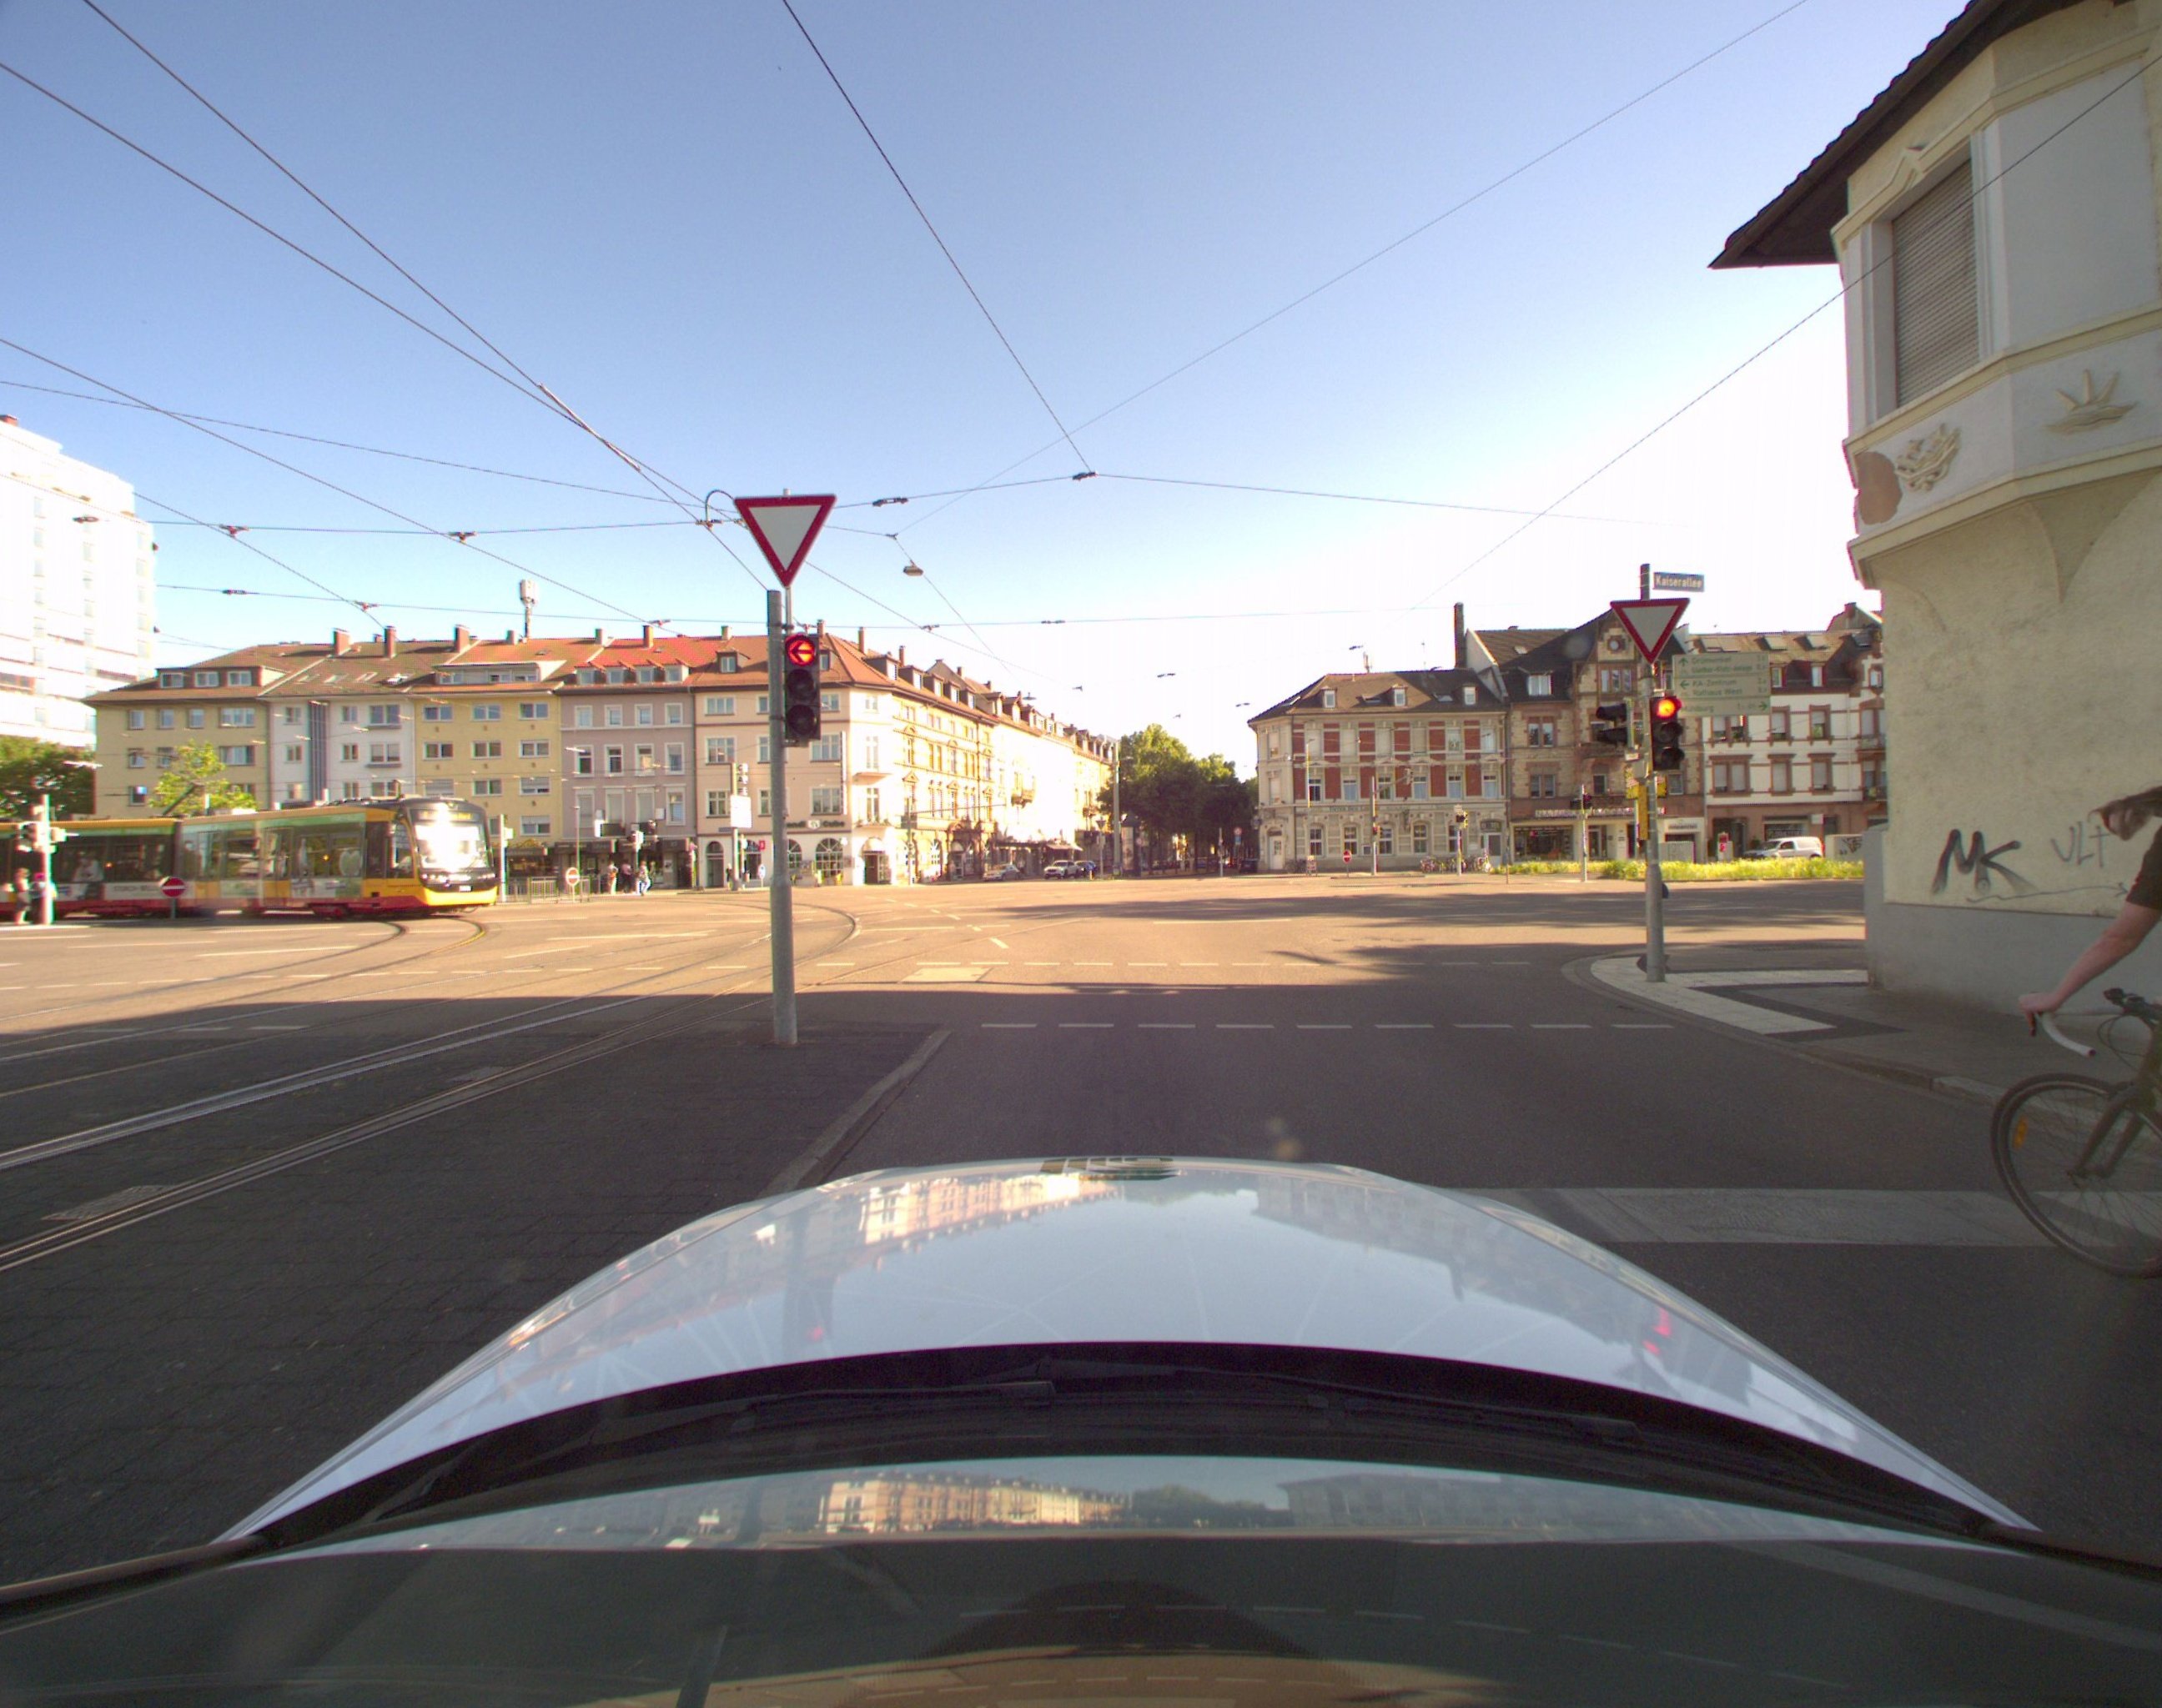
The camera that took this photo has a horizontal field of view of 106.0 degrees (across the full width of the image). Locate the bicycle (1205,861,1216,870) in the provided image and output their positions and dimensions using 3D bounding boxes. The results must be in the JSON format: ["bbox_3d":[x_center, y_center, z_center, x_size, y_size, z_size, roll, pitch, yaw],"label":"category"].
[{"bbox_3d":[15.780,1.389,99.272,0.636,1.021,1.839,0,-1,-12],"label":"bicycle"}]

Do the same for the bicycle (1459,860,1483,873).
[{"bbox_3d":[25.211,0.804,52.694,0.656,0.840,2.162,0,-1,3],"label":"bicycle"}]

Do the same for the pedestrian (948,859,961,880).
[{"bbox_3d":[-10.361,1.284,66.778,0.770,1.670,0.834,-1,-1,17],"label":"pedestrian"}]

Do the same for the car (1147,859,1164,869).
[{"bbox_3d":[11.256,1.517,122.356,1.664,1.354,3.608,-2,0,19],"label":"car"}]

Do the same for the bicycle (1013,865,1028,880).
[{"bbox_3d":[-4.887,1.482,65.529,0.696,1.118,1.642,-1,-1,16],"label":"bicycle"}]

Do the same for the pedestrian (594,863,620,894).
[{"bbox_3d":[-24.778,1.285,42.581,0.842,1.577,0.836,-1,-1,11],"label":"pedestrian"}]

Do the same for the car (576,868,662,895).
[{"bbox_3d":[-30.359,1.786,53.634,4.347,1.711,2.308,0,-1,4],"label":"car"}]

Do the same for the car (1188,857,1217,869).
[{"bbox_3d":[17.216,1.254,115.447,3.870,1.648,1.691,-2,0,19],"label":"car"}]

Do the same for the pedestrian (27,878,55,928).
[{"bbox_3d":[-31.911,1.495,24.988,0.456,1.505,0.485,-1,1,38],"label":"pedestrian"}]

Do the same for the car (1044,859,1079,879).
[{"bbox_3d":[-1.598,1.212,67.504,1.664,1.483,3.789,-2,0,19],"label":"car"}]

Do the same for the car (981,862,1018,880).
[{"bbox_3d":[-6.702,1.422,67.221,1.664,1.354,3.608,-2,0,19],"label":"car"}]

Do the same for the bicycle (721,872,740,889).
[{"bbox_3d":[-22.794,1.690,52.955,0.570,1.077,1.497,0,-1,2],"label":"bicycle"}]

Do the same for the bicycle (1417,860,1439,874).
[{"bbox_3d":[22.431,0.825,52.689,0.656,0.840,2.162,0,-1,3],"label":"bicycle"}]

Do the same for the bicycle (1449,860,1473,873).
[{"bbox_3d":[24.574,0.809,52.740,0.656,0.840,2.162,0,-1,3],"label":"bicycle"}]

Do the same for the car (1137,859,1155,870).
[{"bbox_3d":[9.185,1.489,115.440,1.664,1.354,3.608,-2,0,19],"label":"car"}]

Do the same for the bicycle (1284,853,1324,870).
[{"bbox_3d":[15.610,0.499,57.052,2.547,1.174,0.818,0,-1,-1],"label":"bicycle"}]

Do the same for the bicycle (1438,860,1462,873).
[{"bbox_3d":[23.891,0.814,52.732,0.656,0.840,2.162,0,-1,3],"label":"bicycle"}]

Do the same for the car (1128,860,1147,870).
[{"bbox_3d":[7.710,1.486,111.316,1.664,1.354,3.608,-2,0,19],"label":"car"}]

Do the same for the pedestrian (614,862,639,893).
[{"bbox_3d":[-22.858,1.182,41.003,0.720,1.577,0.836,-1,-1,11],"label":"pedestrian"}]

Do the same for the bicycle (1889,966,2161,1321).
[{"bbox_3d":[3.601,0.958,2.503,0.516,0.970,1.750,-1,0,2],"label":"bicycle"}]

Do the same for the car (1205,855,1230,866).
[{"bbox_3d":[21.462,1.057,127.713,3.549,1.648,1.691,-2,0,19],"label":"car"}]

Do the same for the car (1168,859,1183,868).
[{"bbox_3d":[15.734,1.518,135.595,1.664,1.354,3.608,-2,0,19],"label":"car"}]

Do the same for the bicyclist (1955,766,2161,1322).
[{"bbox_3d":[3.576,0.576,2.494,0.570,1.701,1.117,-1,0,2],"label":"bicyclist"}]

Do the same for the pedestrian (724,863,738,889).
[{"bbox_3d":[-22.793,1.401,52.992,0.580,1.670,0.753,0,-1,2],"label":"pedestrian"}]

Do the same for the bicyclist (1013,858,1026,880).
[{"bbox_3d":[-4.934,1.207,65.409,0.772,1.803,1.060,-1,-1,16],"label":"bicyclist"}]

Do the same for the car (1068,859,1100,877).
[{"bbox_3d":[0.315,1.239,73.764,1.664,1.483,3.967,-2,0,19],"label":"car"}]

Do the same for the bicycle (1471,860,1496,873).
[{"bbox_3d":[26.014,0.798,52.709,0.656,0.840,2.162,0,-1,3],"label":"bicycle"}]

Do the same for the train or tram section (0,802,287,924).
[{"bbox_3d":[-35.093,0.386,28.329,12.719,3.814,2.945,-1,0,4],"label":"train or tram section"}]

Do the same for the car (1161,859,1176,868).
[{"bbox_3d":[14.047,1.499,130.602,1.664,1.354,3.608,-2,0,19],"label":"car"}]

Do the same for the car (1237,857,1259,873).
[{"bbox_3d":[16.913,1.095,82.327,1.664,1.483,3.967,-2,0,19],"label":"car"}]

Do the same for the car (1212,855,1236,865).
[{"bbox_3d":[23.369,0.963,133.146,3.549,1.648,1.691,-2,0,19],"label":"car"}]

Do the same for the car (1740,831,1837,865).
[{"bbox_3d":[45.449,-0.380,52.391,4.406,2.013,2.002,-1,0,4],"label":"car"}]

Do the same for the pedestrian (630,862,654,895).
[{"bbox_3d":[-20.893,1.155,38.803,0.545,1.577,0.838,-1,-1,29],"label":"pedestrian"}]

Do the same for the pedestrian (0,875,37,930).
[{"bbox_3d":[-32.917,1.496,25.237,0.456,1.644,0.643,-1,1,38],"label":"pedestrian"}]

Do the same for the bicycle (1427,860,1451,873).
[{"bbox_3d":[23.167,0.820,52.747,0.656,0.840,2.162,0,-1,3],"label":"bicycle"}]

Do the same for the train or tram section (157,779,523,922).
[{"bbox_3d":[-23.273,0.046,25.323,12.898,3.814,2.957,-1,0,21],"label":"train or tram section"}]
